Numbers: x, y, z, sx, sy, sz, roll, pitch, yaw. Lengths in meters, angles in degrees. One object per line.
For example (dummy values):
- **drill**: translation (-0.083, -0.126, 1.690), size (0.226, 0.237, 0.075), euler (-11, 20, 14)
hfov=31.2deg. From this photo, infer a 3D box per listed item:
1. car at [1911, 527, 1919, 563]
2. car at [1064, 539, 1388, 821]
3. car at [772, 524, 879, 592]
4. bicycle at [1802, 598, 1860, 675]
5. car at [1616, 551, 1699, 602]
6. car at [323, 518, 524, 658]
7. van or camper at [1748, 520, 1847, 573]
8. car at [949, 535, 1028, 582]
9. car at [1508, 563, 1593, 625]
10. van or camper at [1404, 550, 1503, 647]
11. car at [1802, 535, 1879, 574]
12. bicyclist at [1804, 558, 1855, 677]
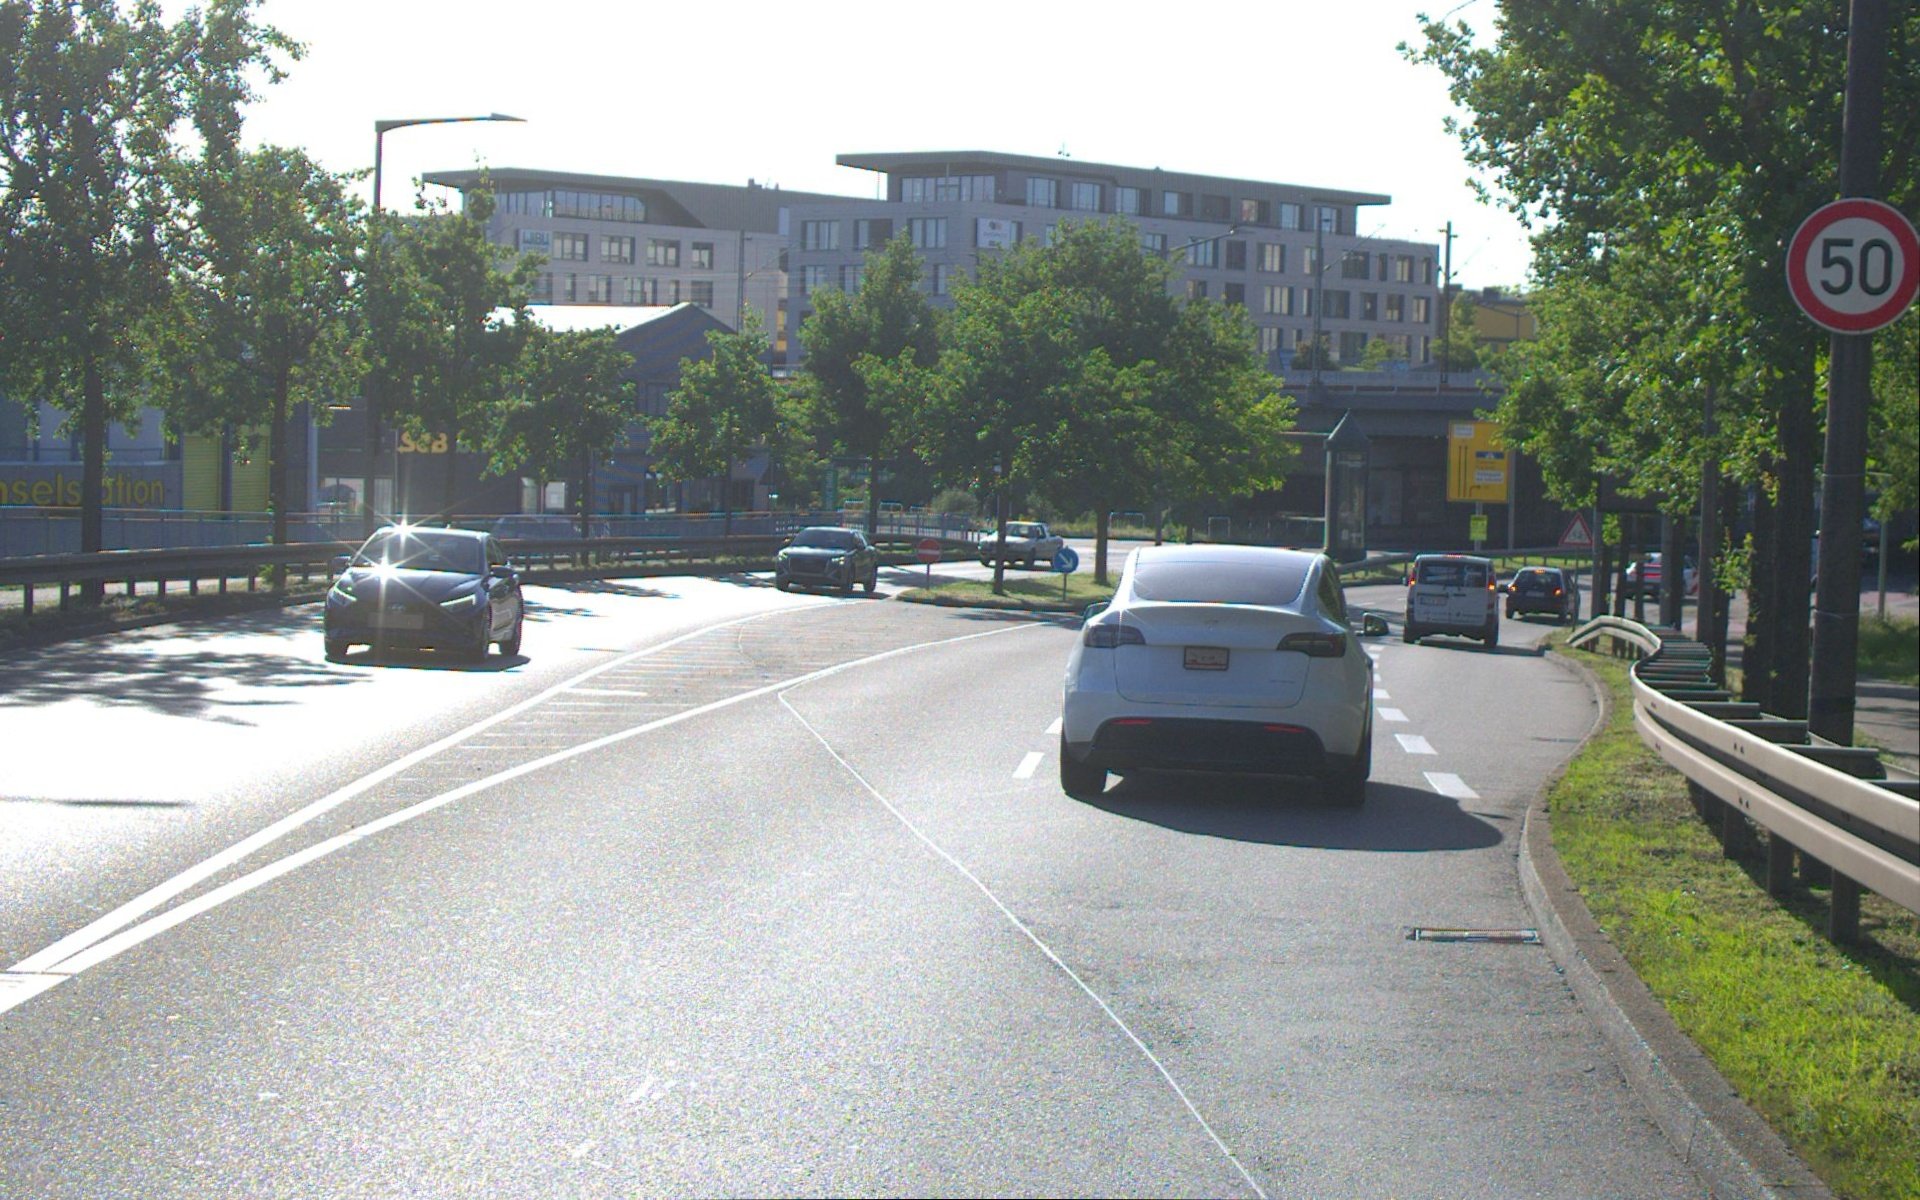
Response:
- **car**: translation (42.435, -2.342, 147.820), size (1.712, 1.517, 3.735), euler (4, 4, 36)
- **car**: translation (1.790, 0.438, 22.764), size (1.914, 1.635, 4.409), euler (1, 1, 5)
- **car**: translation (-3.187, -1.007, 82.033), size (1.763, 1.484, 4.276), euler (4, 1, 8)
- **bicycle**: translation (13.218, 0.544, 52.155), size (0.696, 1.091, 2.116), euler (1, 1, 18)
- **car**: translation (22.551, -0.779, 111.112), size (1.765, 1.470, 4.284), euler (3, 3, 22)
- **car**: translation (-5.945, -0.173, 38.444), size (1.664, 1.440, 3.850), euler (2, 1, -1)
- **van or camper**: translation (30.834, -1.973, 126.491), size (1.830, 1.784, 4.535), euler (5, 4, 36)
- **car**: translation (0.929, -1.331, 109.549), size (1.730, 1.381, 4.494), euler (4, 2, 10)
- **car**: translation (16.117, -0.175, 93.727), size (1.606, 1.429, 3.675), euler (4, 4, 20)
- **van or camper**: translation (10.415, -0.071, 72.529), size (1.959, 1.877, 4.878), euler (2, 1, 8)
- **car**: translation (37.469, -1.948, 146.249), size (1.712, 1.517, 3.734), euler (5, 4, 38)
- **bicyclist**: translation (13.194, 0.251, 52.157), size (0.676, 1.770, 0.947), euler (1, 1, 18)
